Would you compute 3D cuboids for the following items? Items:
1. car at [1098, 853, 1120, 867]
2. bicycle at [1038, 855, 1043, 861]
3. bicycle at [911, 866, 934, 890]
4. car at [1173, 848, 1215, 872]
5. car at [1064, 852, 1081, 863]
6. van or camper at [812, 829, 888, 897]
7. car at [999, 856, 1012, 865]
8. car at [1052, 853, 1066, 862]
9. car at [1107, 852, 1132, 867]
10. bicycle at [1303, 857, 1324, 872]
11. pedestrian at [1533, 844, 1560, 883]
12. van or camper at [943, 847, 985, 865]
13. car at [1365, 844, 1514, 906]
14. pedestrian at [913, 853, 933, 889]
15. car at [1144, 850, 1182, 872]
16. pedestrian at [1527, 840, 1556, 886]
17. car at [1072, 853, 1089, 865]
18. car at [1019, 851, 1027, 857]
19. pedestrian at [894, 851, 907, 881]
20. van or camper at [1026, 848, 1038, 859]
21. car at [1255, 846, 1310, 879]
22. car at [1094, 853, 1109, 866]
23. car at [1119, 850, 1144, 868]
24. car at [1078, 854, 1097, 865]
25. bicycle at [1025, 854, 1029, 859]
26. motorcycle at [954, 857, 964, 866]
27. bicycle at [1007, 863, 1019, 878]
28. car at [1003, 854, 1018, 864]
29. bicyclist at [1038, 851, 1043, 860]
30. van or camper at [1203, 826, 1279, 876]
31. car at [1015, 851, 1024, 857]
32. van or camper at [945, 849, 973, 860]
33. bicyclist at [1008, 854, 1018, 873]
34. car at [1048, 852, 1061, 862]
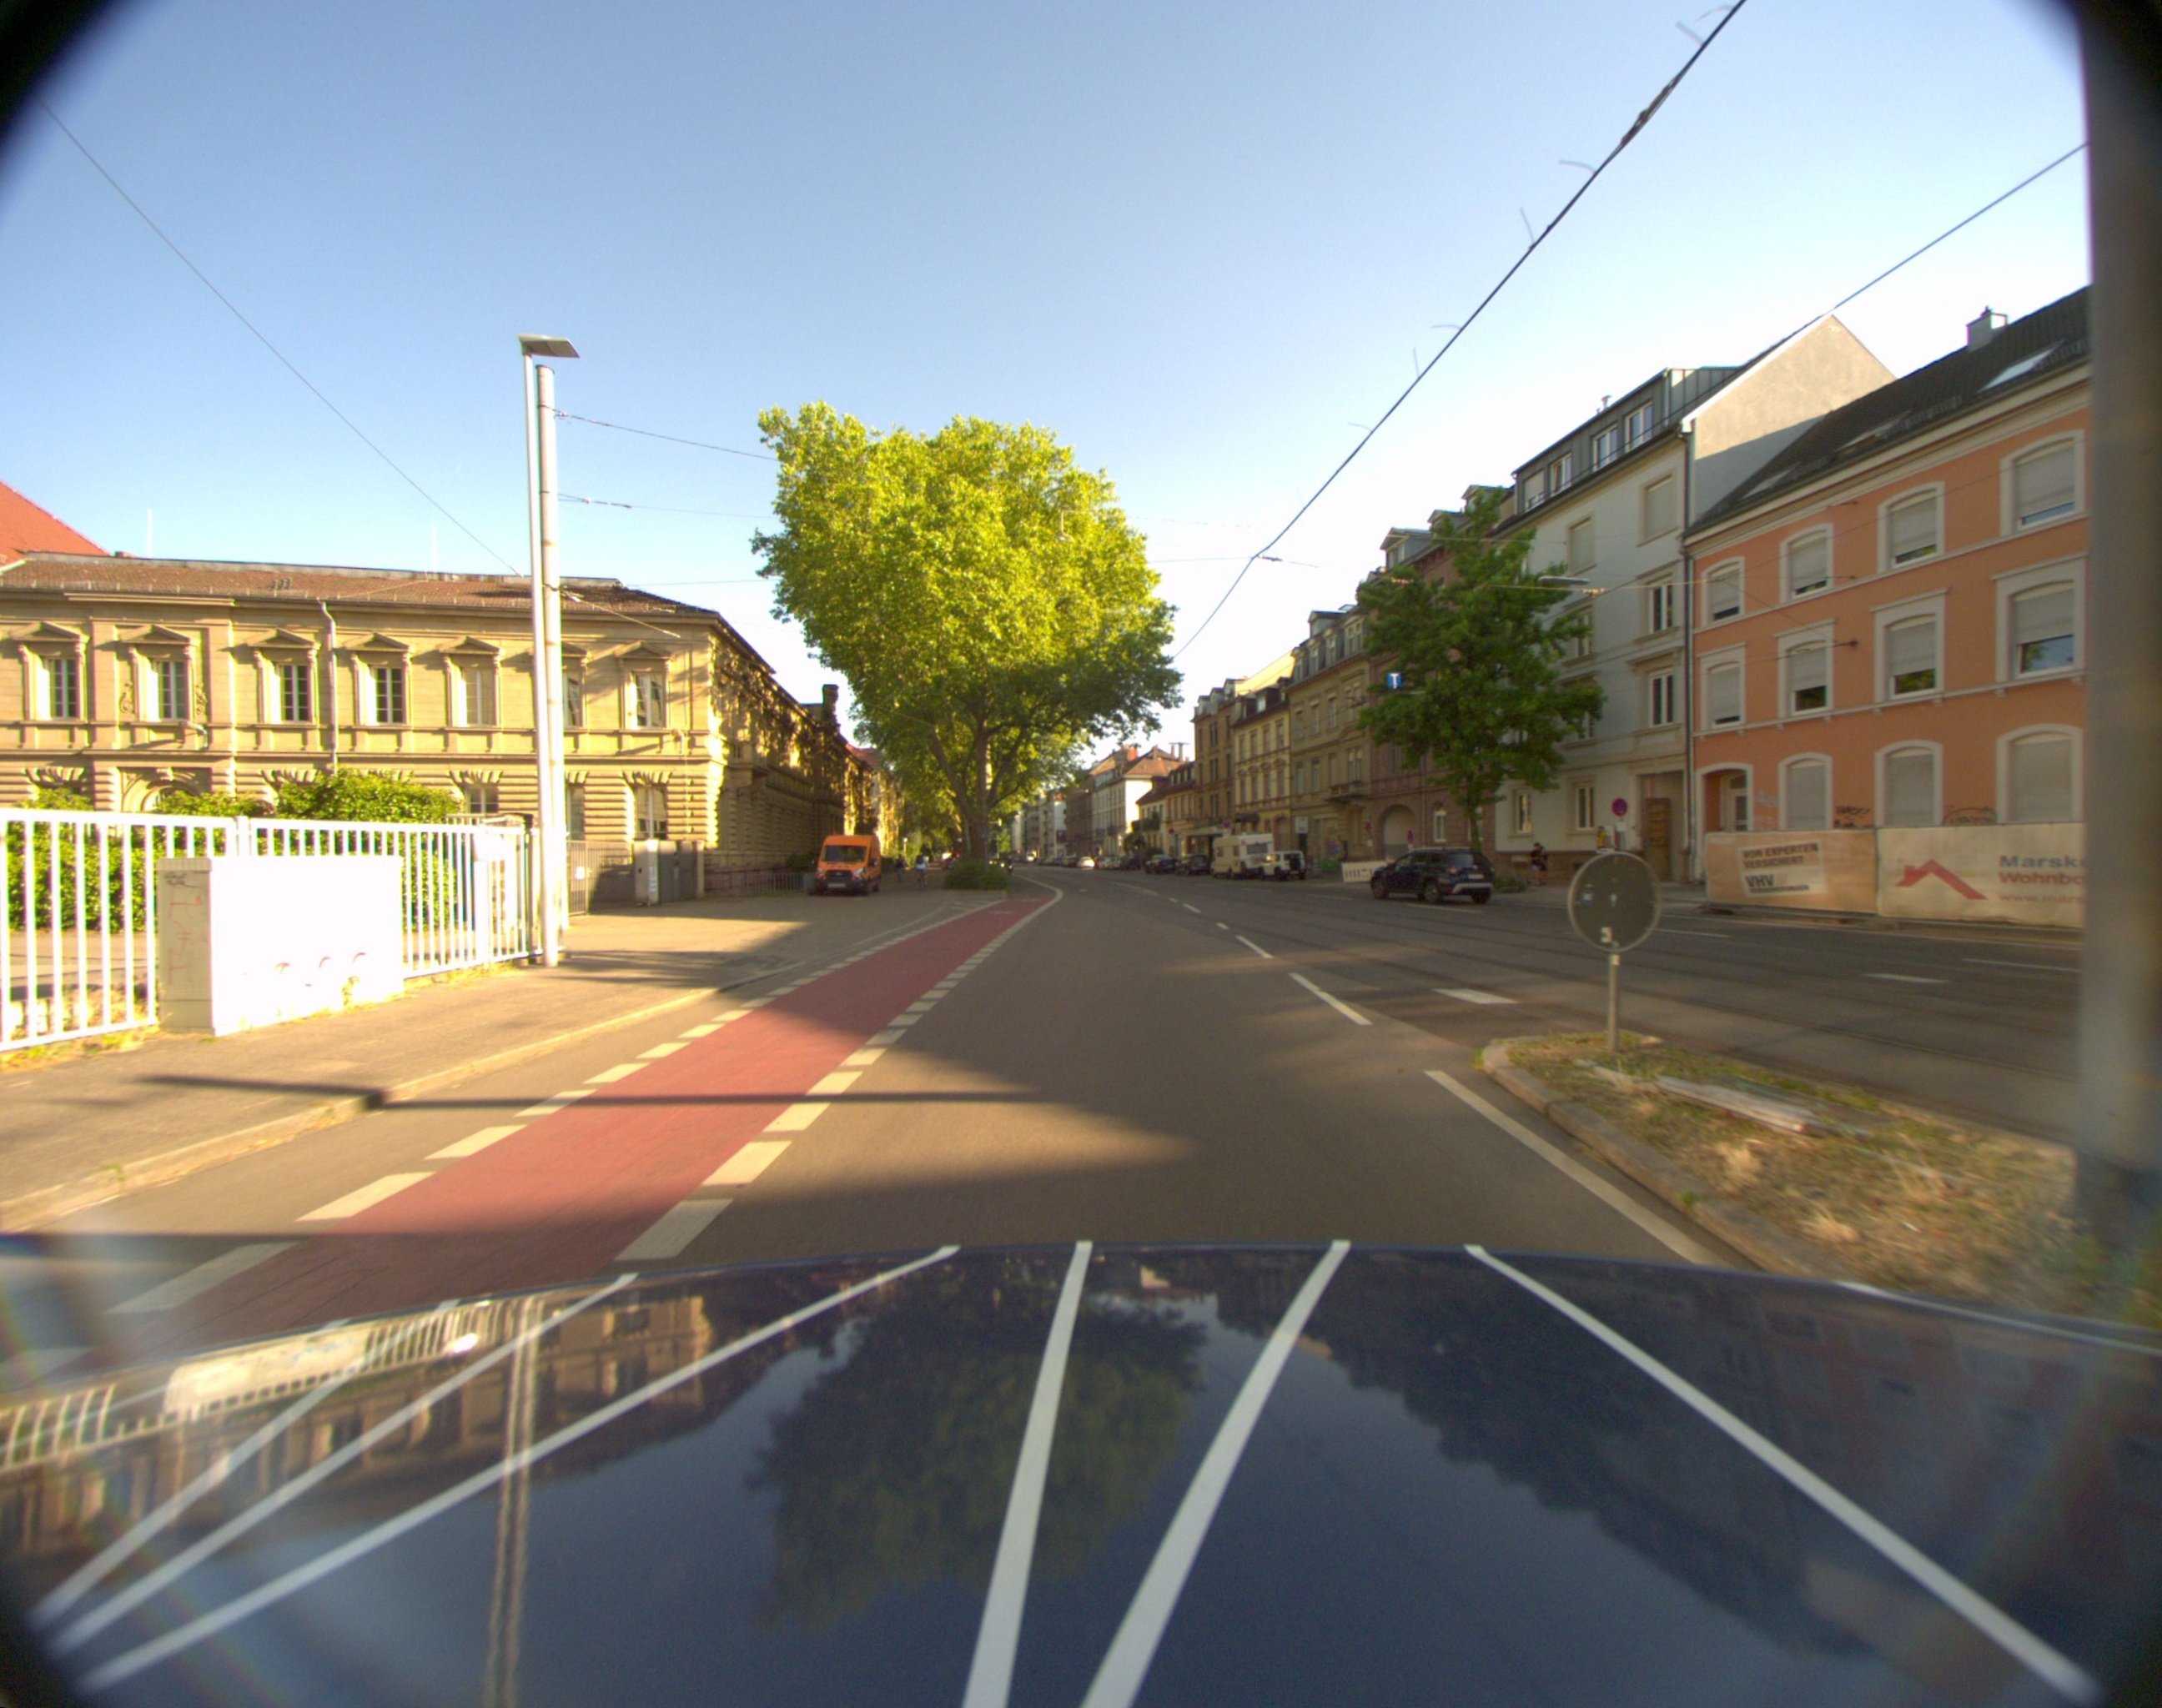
[{"bbox_3d":[3.275,0.684,88.905,1.588,1.482,4.466,-3,1,-10],"label":"car"},{"bbox_3d":[-7.287,0.754,136.079,0.715,1.131,2.118,-1,0,-9],"label":"bicycle"},{"bbox_3d":[-7.388,1.120,35.461,0.676,1.026,1.900,2,0,-1],"label":"bicycle"},{"bbox_3d":[8.816,0.480,59.793,1.816,1.695,4.439,-4,1,-10],"label":"car"},{"bbox_3d":[-1.349,0.542,114.366,1.799,1.630,4.250,-3,1,-10],"label":"car"},{"bbox_3d":[-9.434,0.318,31.518,2.042,2.544,5.769,-1,0,-7],"label":"van or camper"},{"bbox_3d":[-12.274,1.022,123.357,1.741,1.365,3.915,-3,1,-10],"label":"car"},{"bbox_3d":[-3.782,0.618,129.484,1.799,1.368,4.079,-3,1,-10],"label":"car"},{"bbox_3d":[4.217,0.579,83.564,1.669,1.446,4.400,-3,1,-10],"label":"car"},{"bbox_3d":[14.893,0.665,48.720,0.580,0.919,1.790,-1,0,-7],"label":"bicycle"},{"bbox_3d":[17.631,0.356,28.806,0.578,1.453,0.607,-3,1,-10],"label":"pedestrian"},{"bbox_3d":[-17.266,0.287,111.986,5.933,2.484,2.218,-1,3,-11],"label":"van or camper"},{"bbox_3d":[10.816,0.576,23.334,2.000,1.679,4.305,-1,0,-11],"label":"car"},{"bbox_3d":[-7.372,0.768,35.389,0.671,1.610,1.102,2,1,0],"label":"pedestrian"},{"bbox_3d":[7.186,0.604,67.140,2.000,1.693,4.746,-4,1,-10],"label":"car"},{"bbox_3d":[17.123,0.321,28.246,0.569,1.644,0.687,-3,1,-7],"label":"pedestrian"},{"bbox_3d":[-0.107,0.656,108.899,1.799,1.587,4.079,-3,1,-10],"label":"car"},{"bbox_3d":[-14.929,0.059,195.466,1.810,1.534,3.915,-3,1,-10],"label":"car"},{"bbox_3d":[-10.759,0.710,45.378,0.653,1.726,1.006,-1,1,-9],"label":"pedestrian"},{"bbox_3d":[-10.972,-0.179,170.332,1.946,2.267,4.594,-3,1,-10],"label":"van or camper"},{"bbox_3d":[11.660,0.468,44.187,1.636,1.696,3.367,-4,1,-12],"label":"car"},{"bbox_3d":[2.515,0.620,94.258,1.423,1.502,3.323,-3,1,-7],"label":"car"},{"bbox_3d":[5.240,0.491,79.277,1.730,1.736,3.622,-4,1,-9],"label":"car"},{"bbox_3d":[0.827,0.704,104.206,1.870,1.423,4.079,-3,1,-10],"label":"car"},{"bbox_3d":[-11.079,0.497,155.226,0.715,1.131,2.118,-1,0,-9],"label":"bicycle"},{"bbox_3d":[-14.763,0.930,91.826,0.394,1.048,1.274,0,1,44],"label":"motorcycle"},{"bbox_3d":[-5.152,1.230,57.538,0.715,1.131,2.118,-1,0,-9],"label":"bicycle"},{"bbox_3d":[-10.038,0.738,108.389,1.741,1.365,3.915,-3,1,-10],"label":"car"},{"bbox_3d":[-7.288,0.307,136.047,0.715,1.508,0.953,-1,1,-9],"label":"bicyclist"},{"bbox_3d":[10.405,-0.200,50.293,2.427,2.930,7.245,-4,1,-8],"label":"van or camper"},{"bbox_3d":[-16.628,-0.026,205.507,1.810,1.534,3.914,-3,1,-12],"label":"car"},{"bbox_3d":[-27.468,0.035,171.233,6.104,2.417,2.426,-1,1,-9],"label":"van or camper"},{"bbox_3d":[-5.154,0.712,57.556,0.715,1.435,0.953,-1,1,-10],"label":"bicyclist"},{"bbox_3d":[-4.677,0.543,134.705,1.799,1.617,4.079,-3,1,-10],"label":"car"}]
